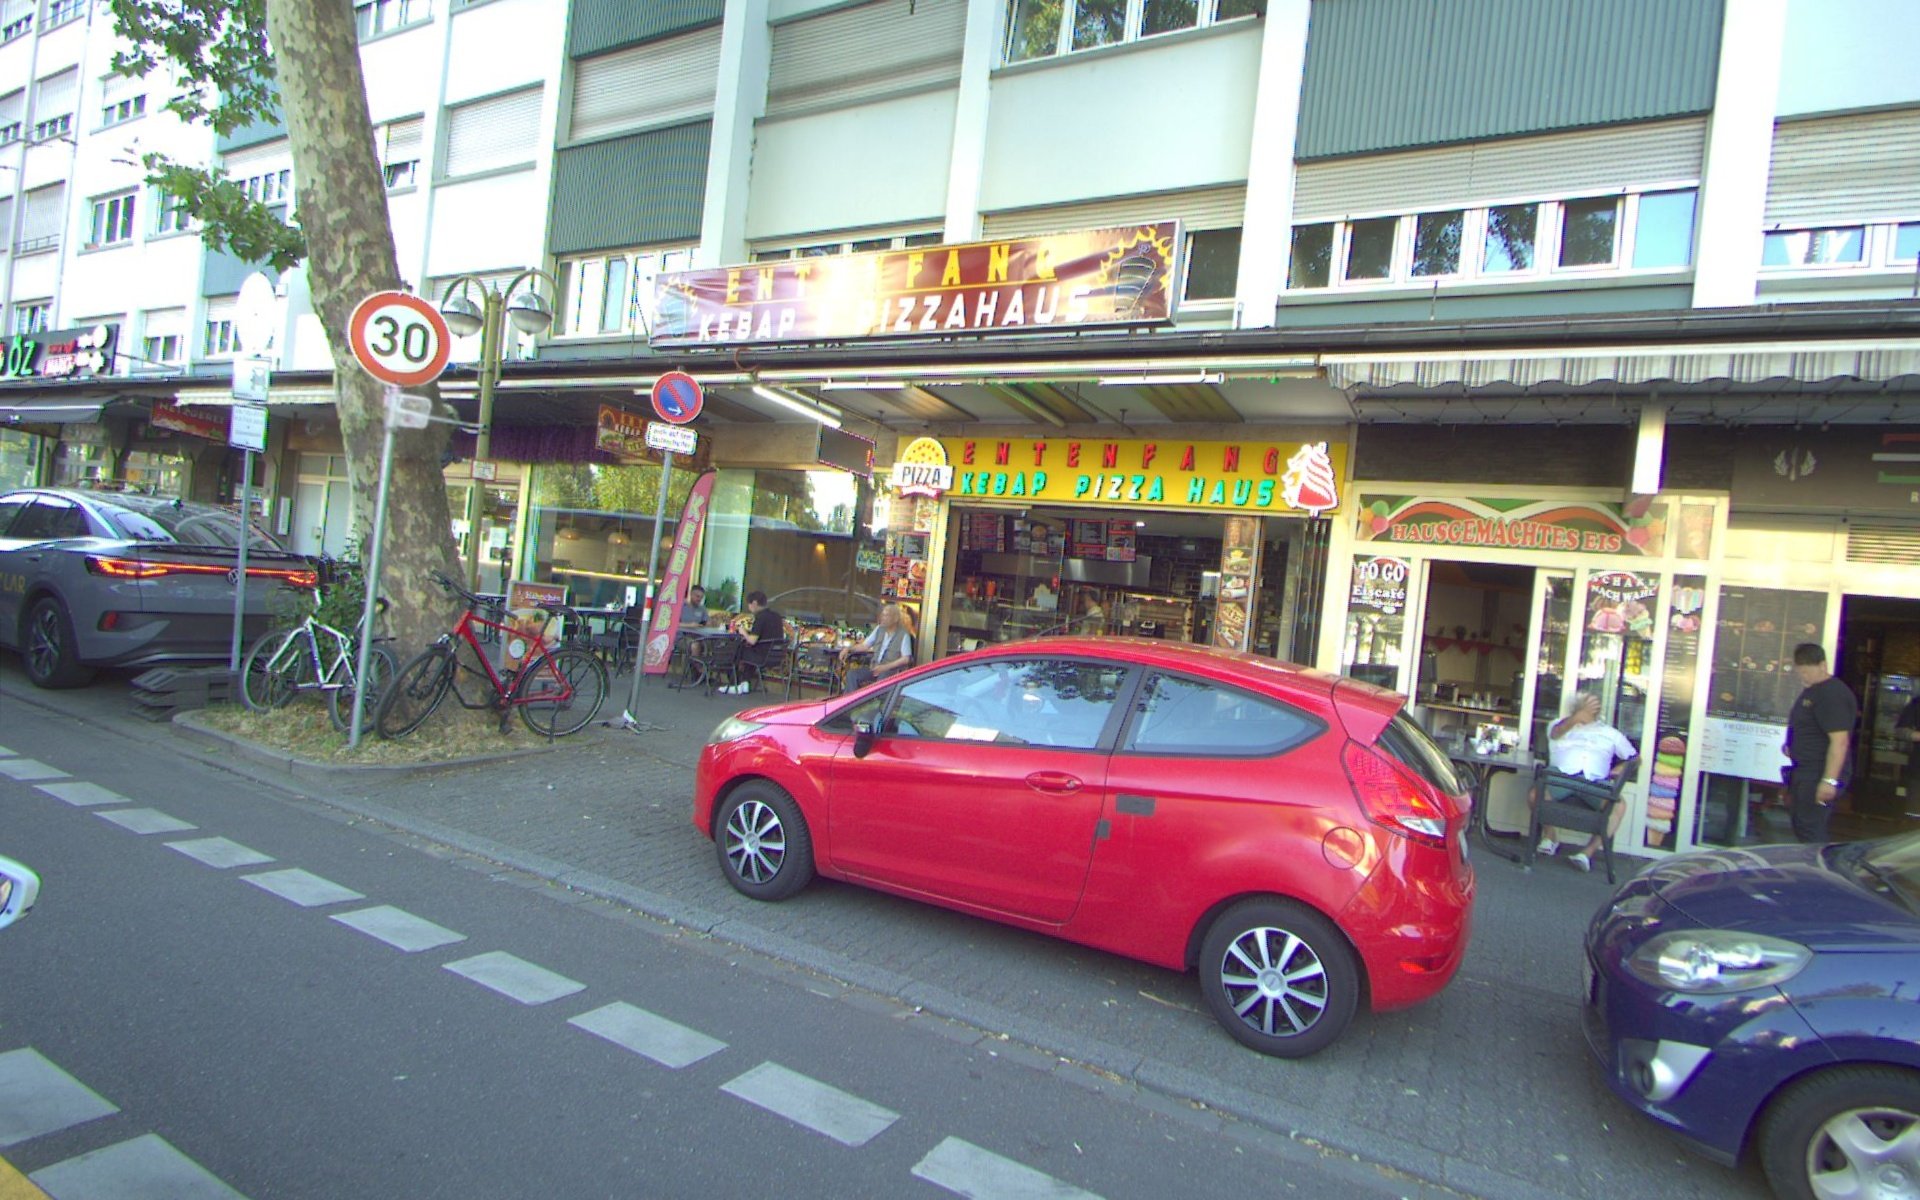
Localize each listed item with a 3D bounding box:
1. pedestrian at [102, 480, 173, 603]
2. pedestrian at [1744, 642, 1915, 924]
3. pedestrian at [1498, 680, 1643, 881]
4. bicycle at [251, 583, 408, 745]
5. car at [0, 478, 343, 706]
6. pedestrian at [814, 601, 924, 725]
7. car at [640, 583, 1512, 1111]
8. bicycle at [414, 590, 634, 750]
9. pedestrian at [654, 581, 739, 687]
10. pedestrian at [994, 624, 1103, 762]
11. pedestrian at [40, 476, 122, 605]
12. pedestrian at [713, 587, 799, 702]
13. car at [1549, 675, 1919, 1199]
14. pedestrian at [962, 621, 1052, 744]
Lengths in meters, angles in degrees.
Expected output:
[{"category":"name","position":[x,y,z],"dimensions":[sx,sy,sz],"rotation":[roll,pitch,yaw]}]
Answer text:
[{"category":"pedestrian","position":[-14.309,-1.009,17.512],"dimensions":[0.685,2.038,0.613],"rotation":[7,1,31]},{"category":"pedestrian","position":[5.893,1.196,6.865],"dimensions":[0.579,1.759,0.596],"rotation":[8,3,29]},{"category":"pedestrian","position":[4.634,1.299,7.622],"dimensions":[0.767,1.249,1.202],"rotation":[6,3,33]},{"category":"bicycle","position":[-4.447,0.427,7.079],"dimensions":[1.110,0.941,0.295],"rotation":[9,6,21]},{"category":"car","position":[-7.844,-0.202,9.213],"dimensions":[4.223,1.619,1.742],"rotation":[7,2,27]},{"category":"pedestrian","position":[-0.982,0.666,10.866],"dimensions":[0.861,1.237,0.688],"rotation":[2,3,-44]},{"category":"car","position":[0.474,0.847,4.994],"dimensions":[3.780,1.448,1.668],"rotation":[7,2,27]},{"category":"bicycle","position":[-3.236,0.507,7.558],"dimensions":[0.291,1.082,1.455],"rotation":[12,7,42]},{"category":"pedestrian","position":[-3.239,0.411,12.361],"dimensions":[0.694,1.220,0.675],"rotation":[7,3,42]},{"category":"pedestrian","position":[0.829,0.842,9.412],"dimensions":[0.740,1.172,0.593],"rotation":[6,3,33]},{"category":"pedestrian","position":[-14.665,-0.981,16.783],"dimensions":[0.684,2.038,0.692],"rotation":[7,1,29]},{"category":"pedestrian","position":[-2.393,0.513,11.798],"dimensions":[0.701,1.260,0.614],"rotation":[7,3,41]},{"category":"car","position":[3.873,1.225,2.912],"dimensions":[3.543,1.485,1.620],"rotation":[7,2,29]},{"category":"pedestrian","position":[0.489,0.829,10.382],"dimensions":[0.585,1.172,0.671],"rotation":[6,3,31]}]
